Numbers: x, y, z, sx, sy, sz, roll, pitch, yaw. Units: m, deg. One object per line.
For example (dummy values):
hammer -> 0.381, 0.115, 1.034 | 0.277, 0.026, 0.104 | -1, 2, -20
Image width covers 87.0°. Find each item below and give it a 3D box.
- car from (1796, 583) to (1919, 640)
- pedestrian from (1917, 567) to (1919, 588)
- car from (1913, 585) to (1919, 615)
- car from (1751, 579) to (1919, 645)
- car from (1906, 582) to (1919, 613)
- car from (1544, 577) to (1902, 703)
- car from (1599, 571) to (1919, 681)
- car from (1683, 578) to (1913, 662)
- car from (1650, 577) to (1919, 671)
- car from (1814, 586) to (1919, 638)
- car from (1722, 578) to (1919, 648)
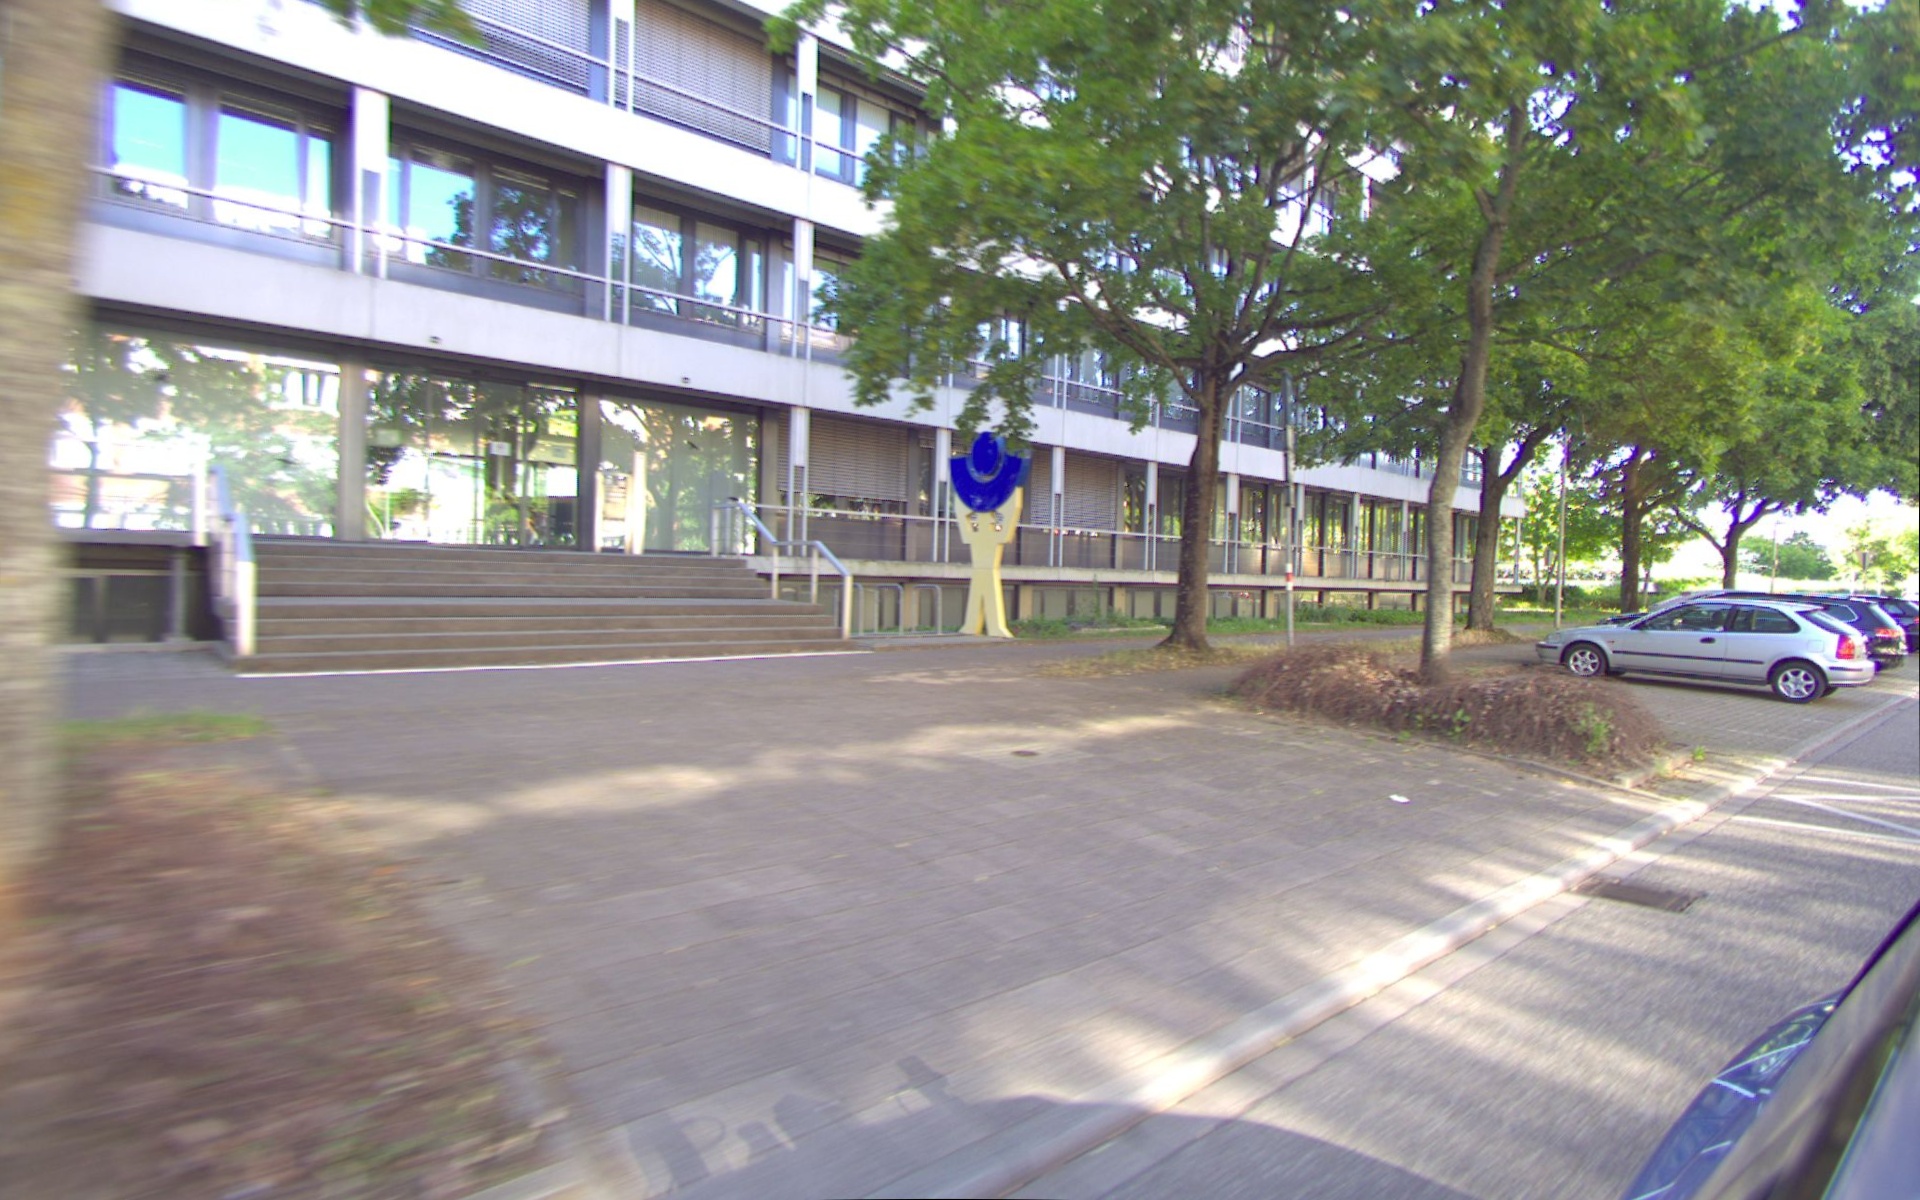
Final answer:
car -> 27.735, 0.350, 30.255 | 1.886, 1.464, 3.851 | 0, 4, -37
pedestrian -> 72.142, -1.636, 75.692 | 0.919, 1.561, 0.609 | 0, 2, -35
car -> 51.966, 0.151, 51.795 | 4.552, 1.532, 1.951 | 6, 6, 44
car -> 25.430, 0.318, 28.555 | 1.886, 1.561, 4.531 | 0, 4, -37
car -> 49.854, -0.001, 50.218 | 1.671, 1.532, 3.959 | -1, 5, -39
car -> 11.293, 0.487, 15.214 | 1.680, 1.437, 3.979 | 0, 4, -40
car -> 14.824, 0.372, 18.842 | 1.733, 1.511, 4.599 | 0, 5, -43
car -> 18.519, 0.377, 22.474 | 1.591, 1.511, 3.747 | 0, 4, -45
car -> 17.020, 0.400, 20.786 | 1.968, 1.511, 4.296 | 0, 4, -40
car -> 29.793, 0.396, 31.577 | 1.716, 1.493, 4.588 | 0, 3, -40
car -> 23.419, 0.303, 27.119 | 1.890, 1.561, 4.520 | 0, 4, -44
